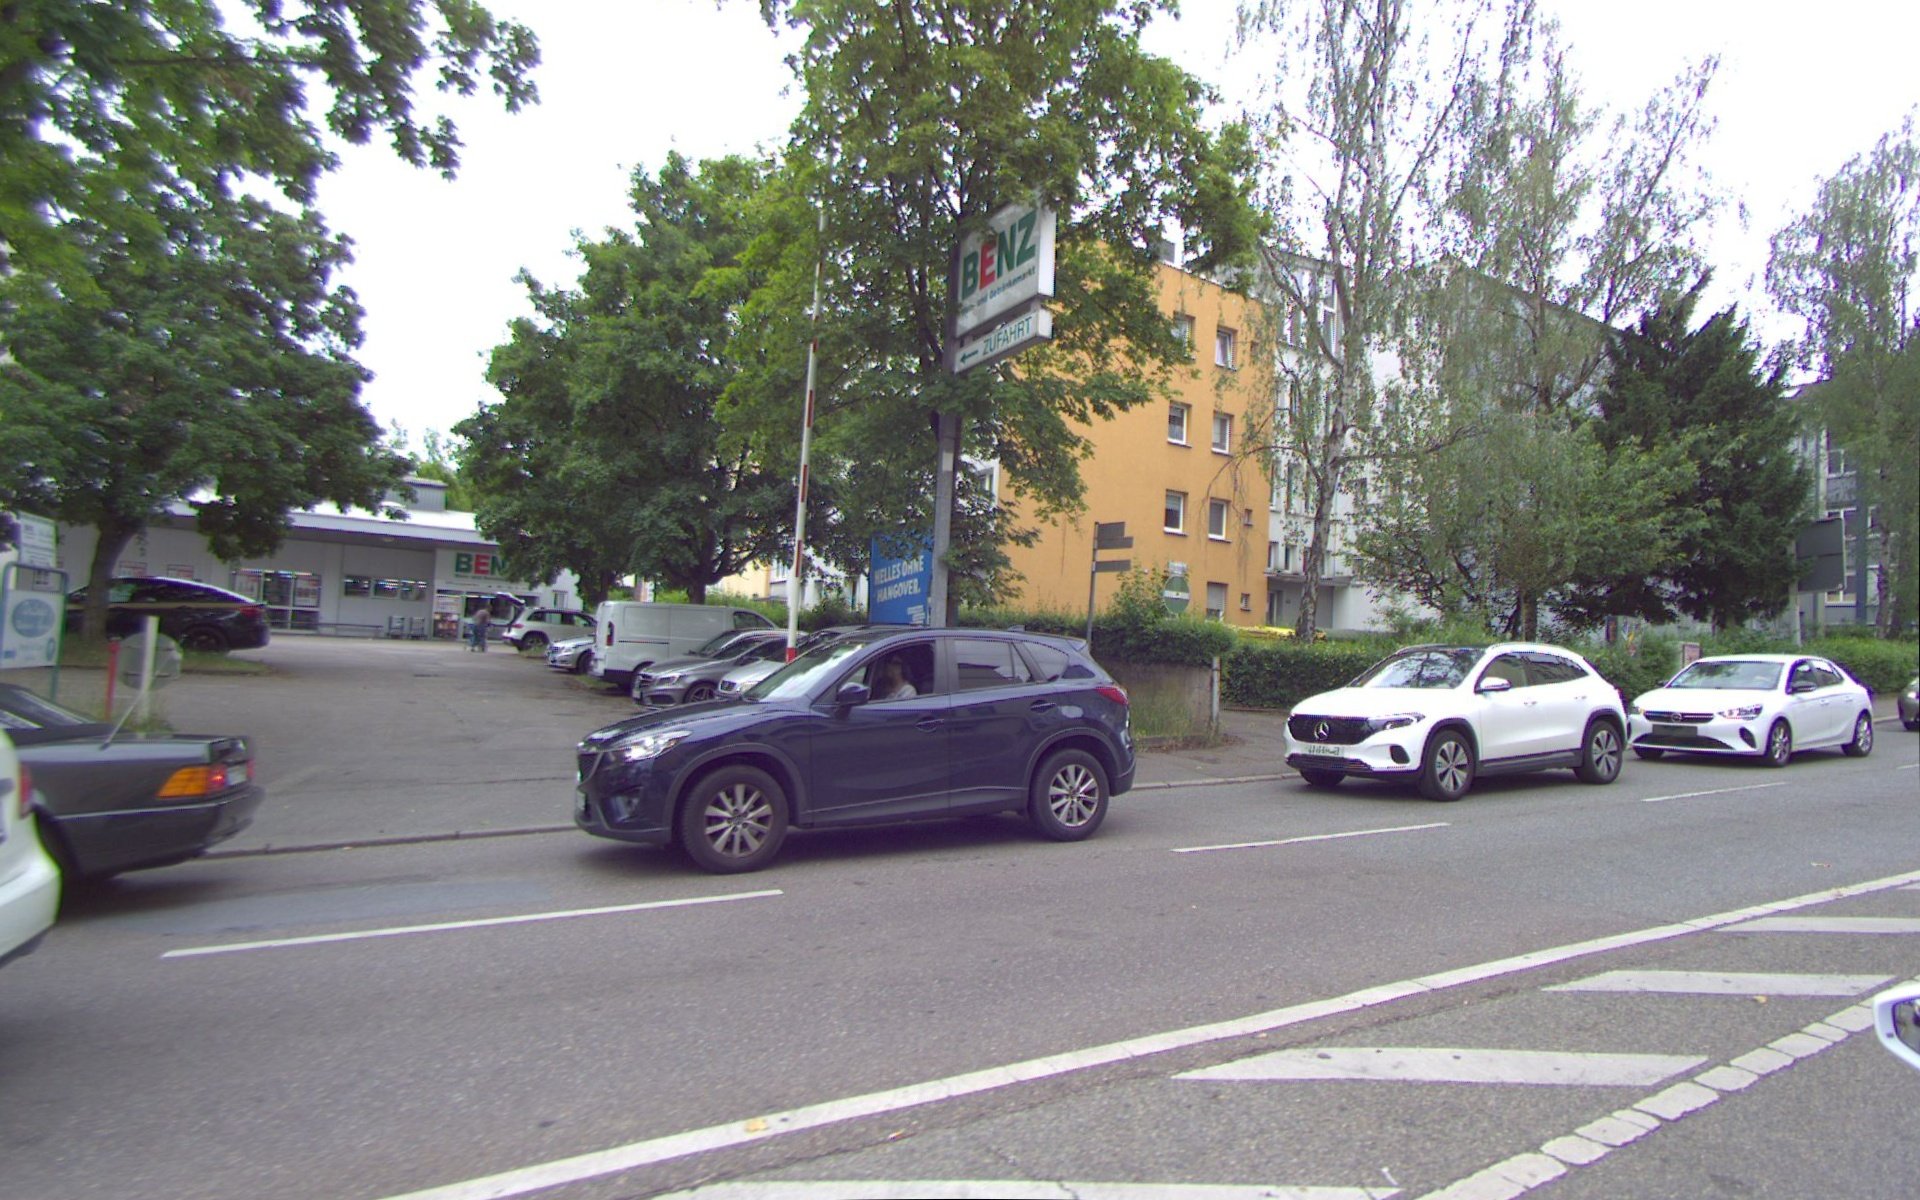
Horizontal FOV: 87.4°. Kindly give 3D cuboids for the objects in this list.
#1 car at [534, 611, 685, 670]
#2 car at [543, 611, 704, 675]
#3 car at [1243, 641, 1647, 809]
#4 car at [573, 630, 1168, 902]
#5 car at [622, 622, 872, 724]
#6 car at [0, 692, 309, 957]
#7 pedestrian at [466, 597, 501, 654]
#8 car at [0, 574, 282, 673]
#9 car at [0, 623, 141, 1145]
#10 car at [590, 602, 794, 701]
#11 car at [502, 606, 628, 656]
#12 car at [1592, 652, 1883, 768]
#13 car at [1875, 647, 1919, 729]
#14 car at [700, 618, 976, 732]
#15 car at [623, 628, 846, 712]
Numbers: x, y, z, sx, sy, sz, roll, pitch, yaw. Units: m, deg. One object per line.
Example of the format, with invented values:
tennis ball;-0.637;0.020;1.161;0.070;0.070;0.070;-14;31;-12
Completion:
car;-10.336;1.183;29.644;3.886;1.630;1.907;1;-1;-31
car;-9.231;1.155;27.588;3.886;1.630;1.907;1;-1;-31
car;5.659;1.321;11.655;4.442;1.614;1.944;1;-4;-28
car;-0.685;1.125;8.079;4.357;1.663;1.945;1;-4;-28
car;-3.684;1.209;17.433;3.948;1.521;1.701;1;1;-27
car;-6.211;1.217;5.509;4.180;1.298;1.797;1;-4;-26
pedestrian;-16.736;0.904;35.303;0.809;1.976;0.708;1;-1;12
car;-16.763;0.487;20.461;4.860;1.827;2.046;1;-1;-35
car;-4.916;0.841;2.358;4.265;1.567;1.771;1;-4;-24
car;-5.810;1.075;21.823;3.952;1.927;1.816;1;1;-29
car;-14.025;1.084;35.692;3.886;1.695;1.907;1;-1;-31
car;11.148;1.493;14.366;4.025;1.430;1.832;1;-5;-29
car;19.196;1.610;18.825;4.260;1.467;1.831;1;-4;-31
car;-1.876;1.104;15.789;3.954;1.521;1.698;1;1;-31
car;-4.415;1.314;19.917;3.961;1.429;1.695;1;1;-36
